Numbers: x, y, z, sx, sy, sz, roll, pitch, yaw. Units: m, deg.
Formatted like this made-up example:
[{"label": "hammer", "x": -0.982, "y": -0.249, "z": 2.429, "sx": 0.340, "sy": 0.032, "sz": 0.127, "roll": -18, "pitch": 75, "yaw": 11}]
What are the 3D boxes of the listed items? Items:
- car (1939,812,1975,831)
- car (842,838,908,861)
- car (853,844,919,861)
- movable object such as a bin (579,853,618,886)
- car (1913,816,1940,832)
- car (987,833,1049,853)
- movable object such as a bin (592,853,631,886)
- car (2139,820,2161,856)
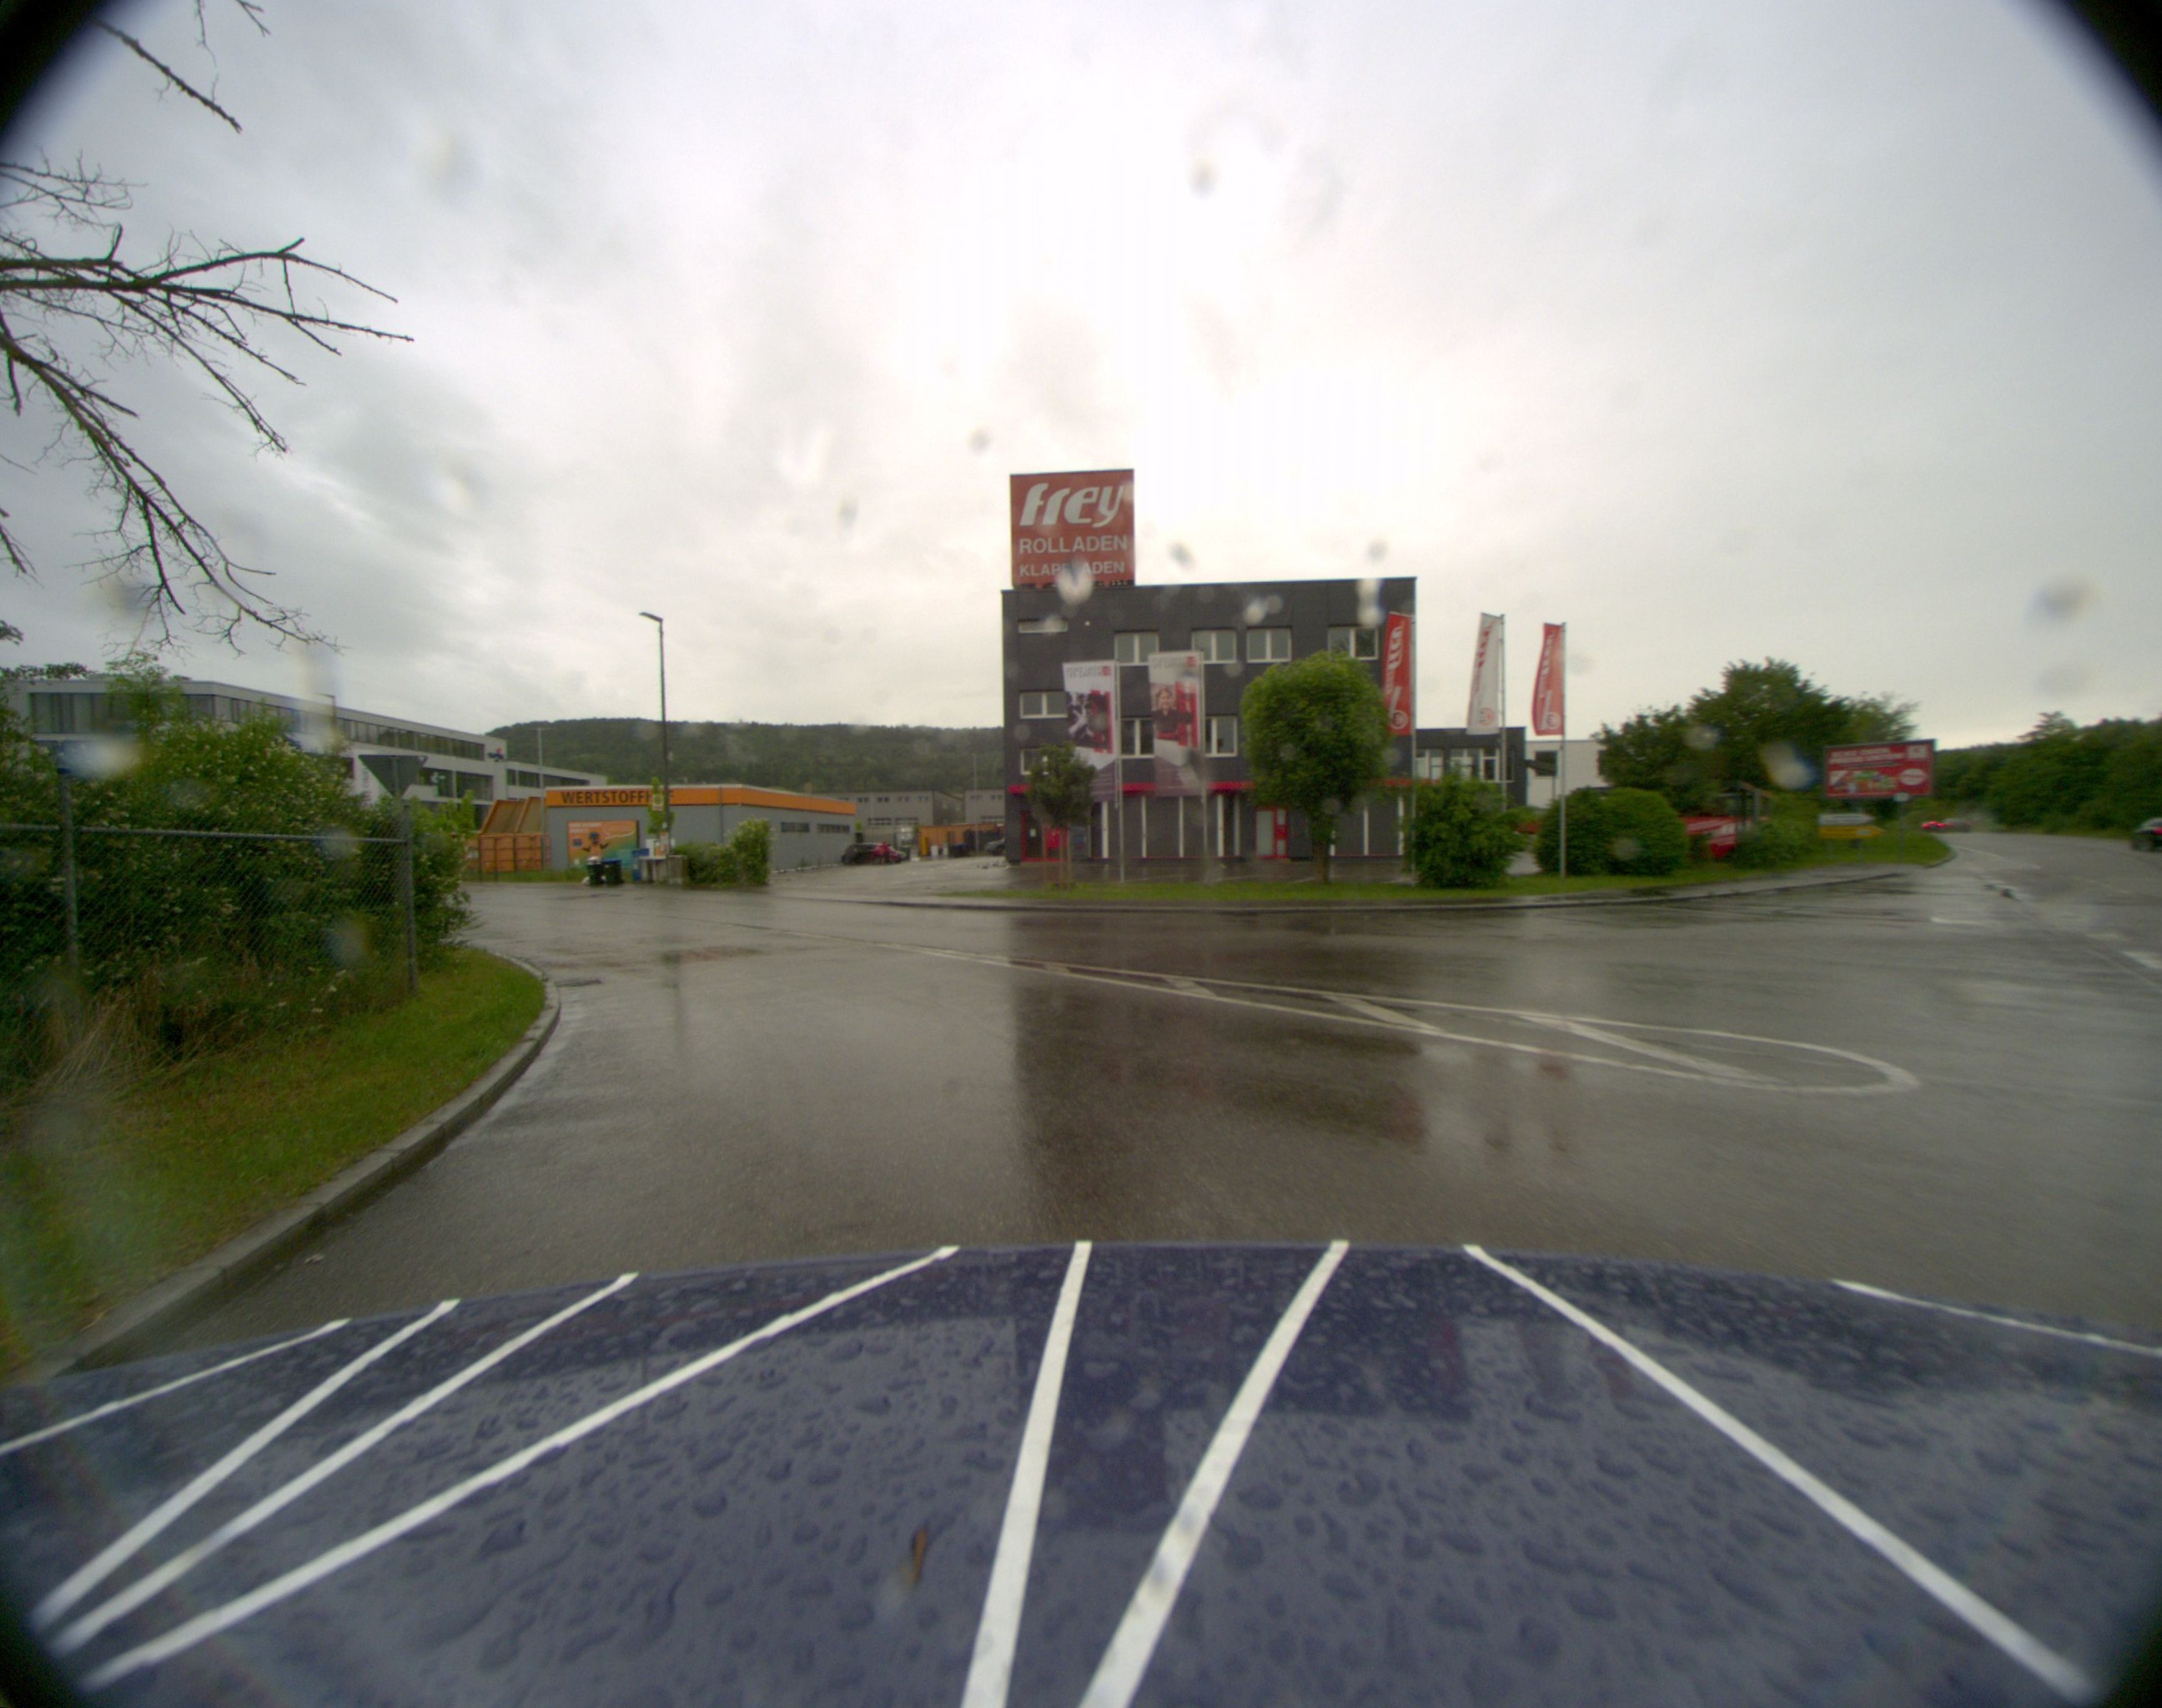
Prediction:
[{"label": "car", "x": 93.247, "y": -3.455, "z": 80.946, "sx": 1.994, "sy": 2.003, "sz": 4.007, "roll": 1, "pitch": 4, "yaw": 42}, {"label": "car", "x": -14.119, "y": -0.312, "z": 52.185, "sx": 3.990, "sy": 1.566, "sz": 1.927, "roll": 0, "pitch": 2, "yaw": 22}, {"label": "car", "x": -14.059, "y": -0.147, "z": 54.887, "sx": 4.188, "sy": 1.154, "sz": 1.934, "roll": 0, "pitch": 1, "yaw": 15}, {"label": "movable object such as a bin", "x": -20.036, "y": 0.614, "z": 31.543, "sx": 1.000, "sy": 1.315, "sz": 0.983, "roll": 0, "pitch": 2, "yaw": 31}, {"label": "car", "x": 105.523, "y": -3.770, "z": 94.862, "sx": 1.804, "sy": 2.003, "sz": 4.007, "roll": 1, "pitch": 4, "yaw": 42}, {"label": "car", "x": -4.666, "y": -0.850, "z": 56.244, "sx": 4.199, "sy": 1.379, "sz": 1.997, "roll": -1, "pitch": 1, "yaw": -17}, {"label": "movable object such as a bin", "x": -19.165, "y": 0.610, "z": 31.020, "sx": 1.000, "sy": 1.315, "sz": 0.983, "roll": 0, "pitch": 2, "yaw": 31}, {"label": "car", "x": 47.135, "y": -0.704, "z": 32.668, "sx": 4.007, "sy": 1.515, "sz": 1.830, "roll": -2, "pitch": 2, "yaw": -37}]
